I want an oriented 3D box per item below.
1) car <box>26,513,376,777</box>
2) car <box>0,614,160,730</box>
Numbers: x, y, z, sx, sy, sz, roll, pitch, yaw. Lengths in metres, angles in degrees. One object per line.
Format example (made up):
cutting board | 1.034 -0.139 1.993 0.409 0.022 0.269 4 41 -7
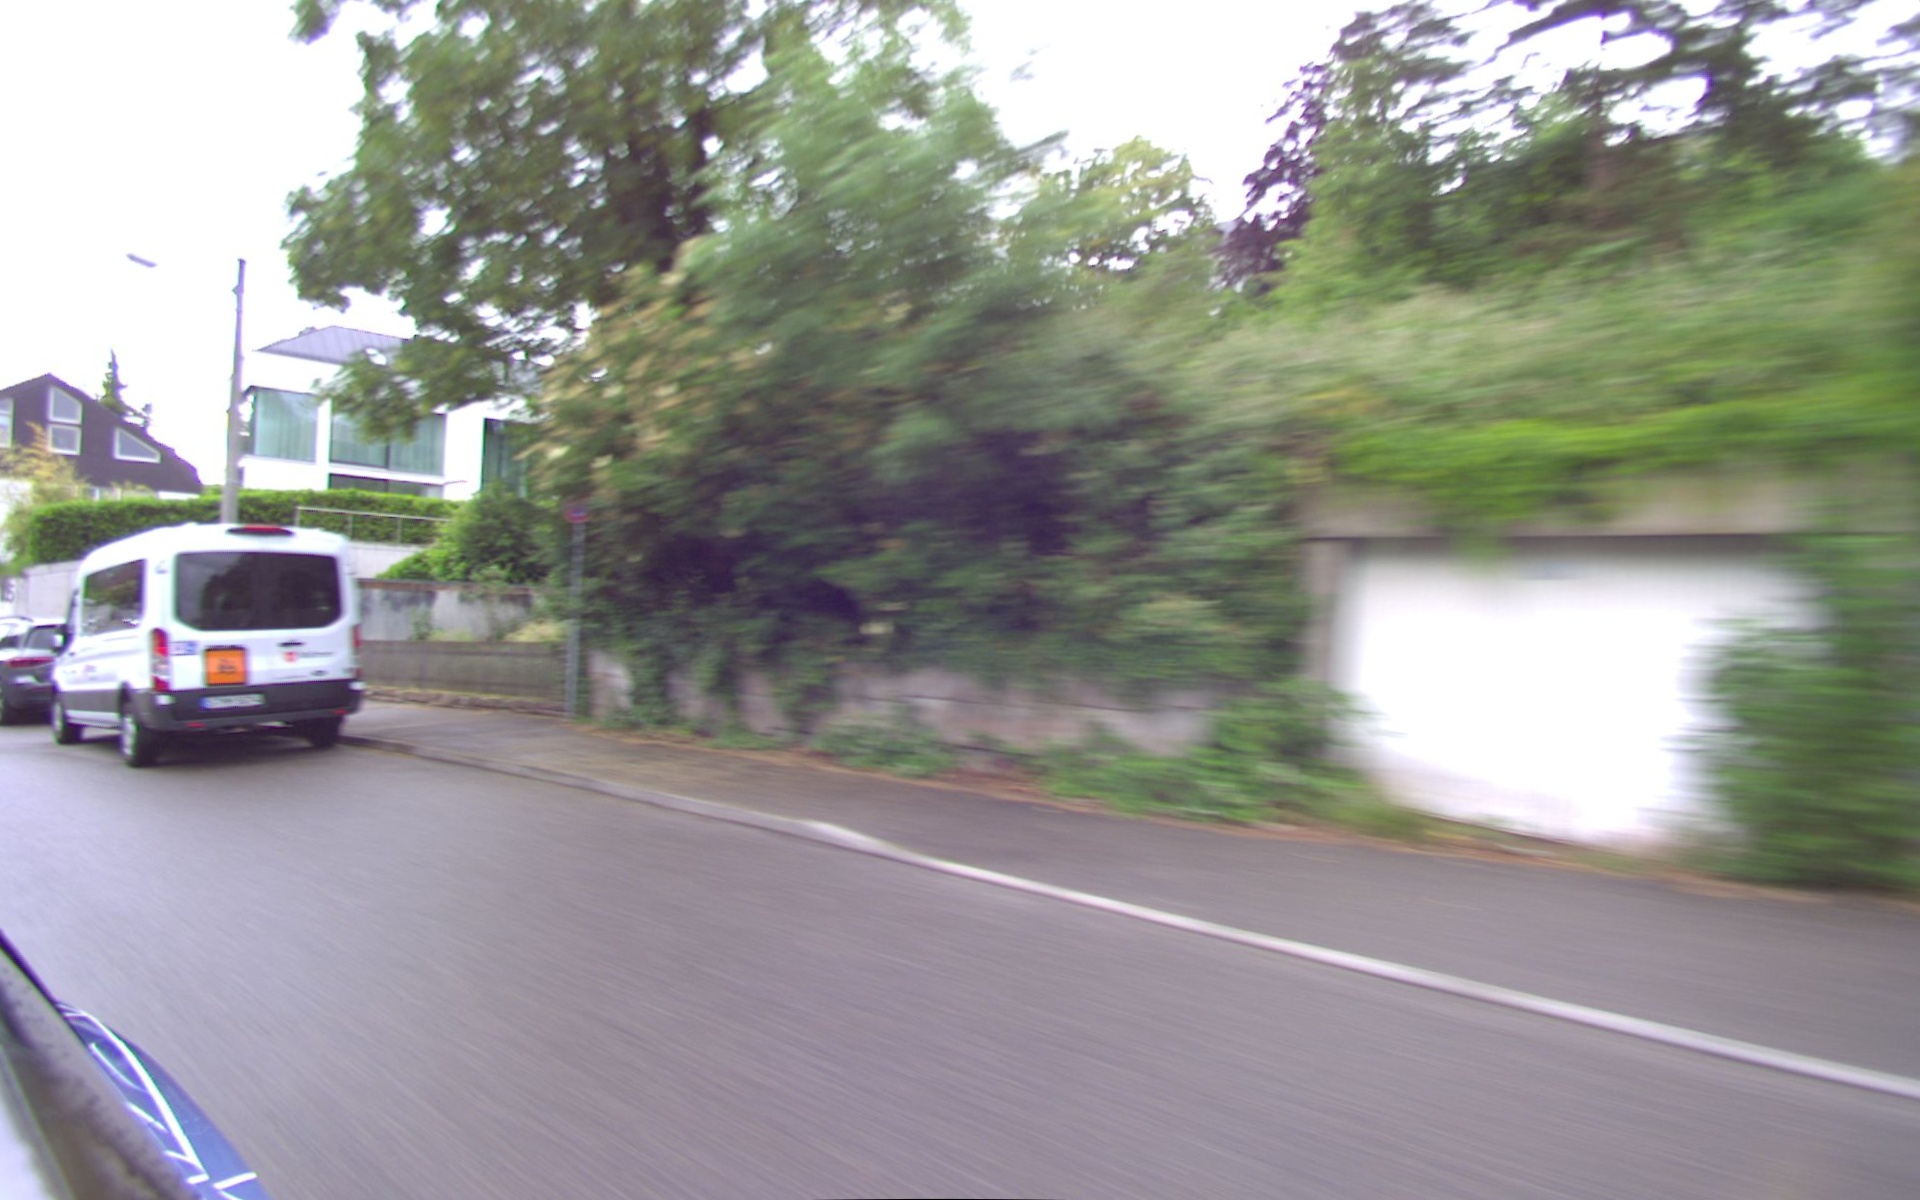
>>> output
car | -9.632 0.501 12.577 6.090 2.569 2.073 -2 -1 39
car | -15.512 1.108 17.054 4.532 1.704 1.881 -1 -1 33
